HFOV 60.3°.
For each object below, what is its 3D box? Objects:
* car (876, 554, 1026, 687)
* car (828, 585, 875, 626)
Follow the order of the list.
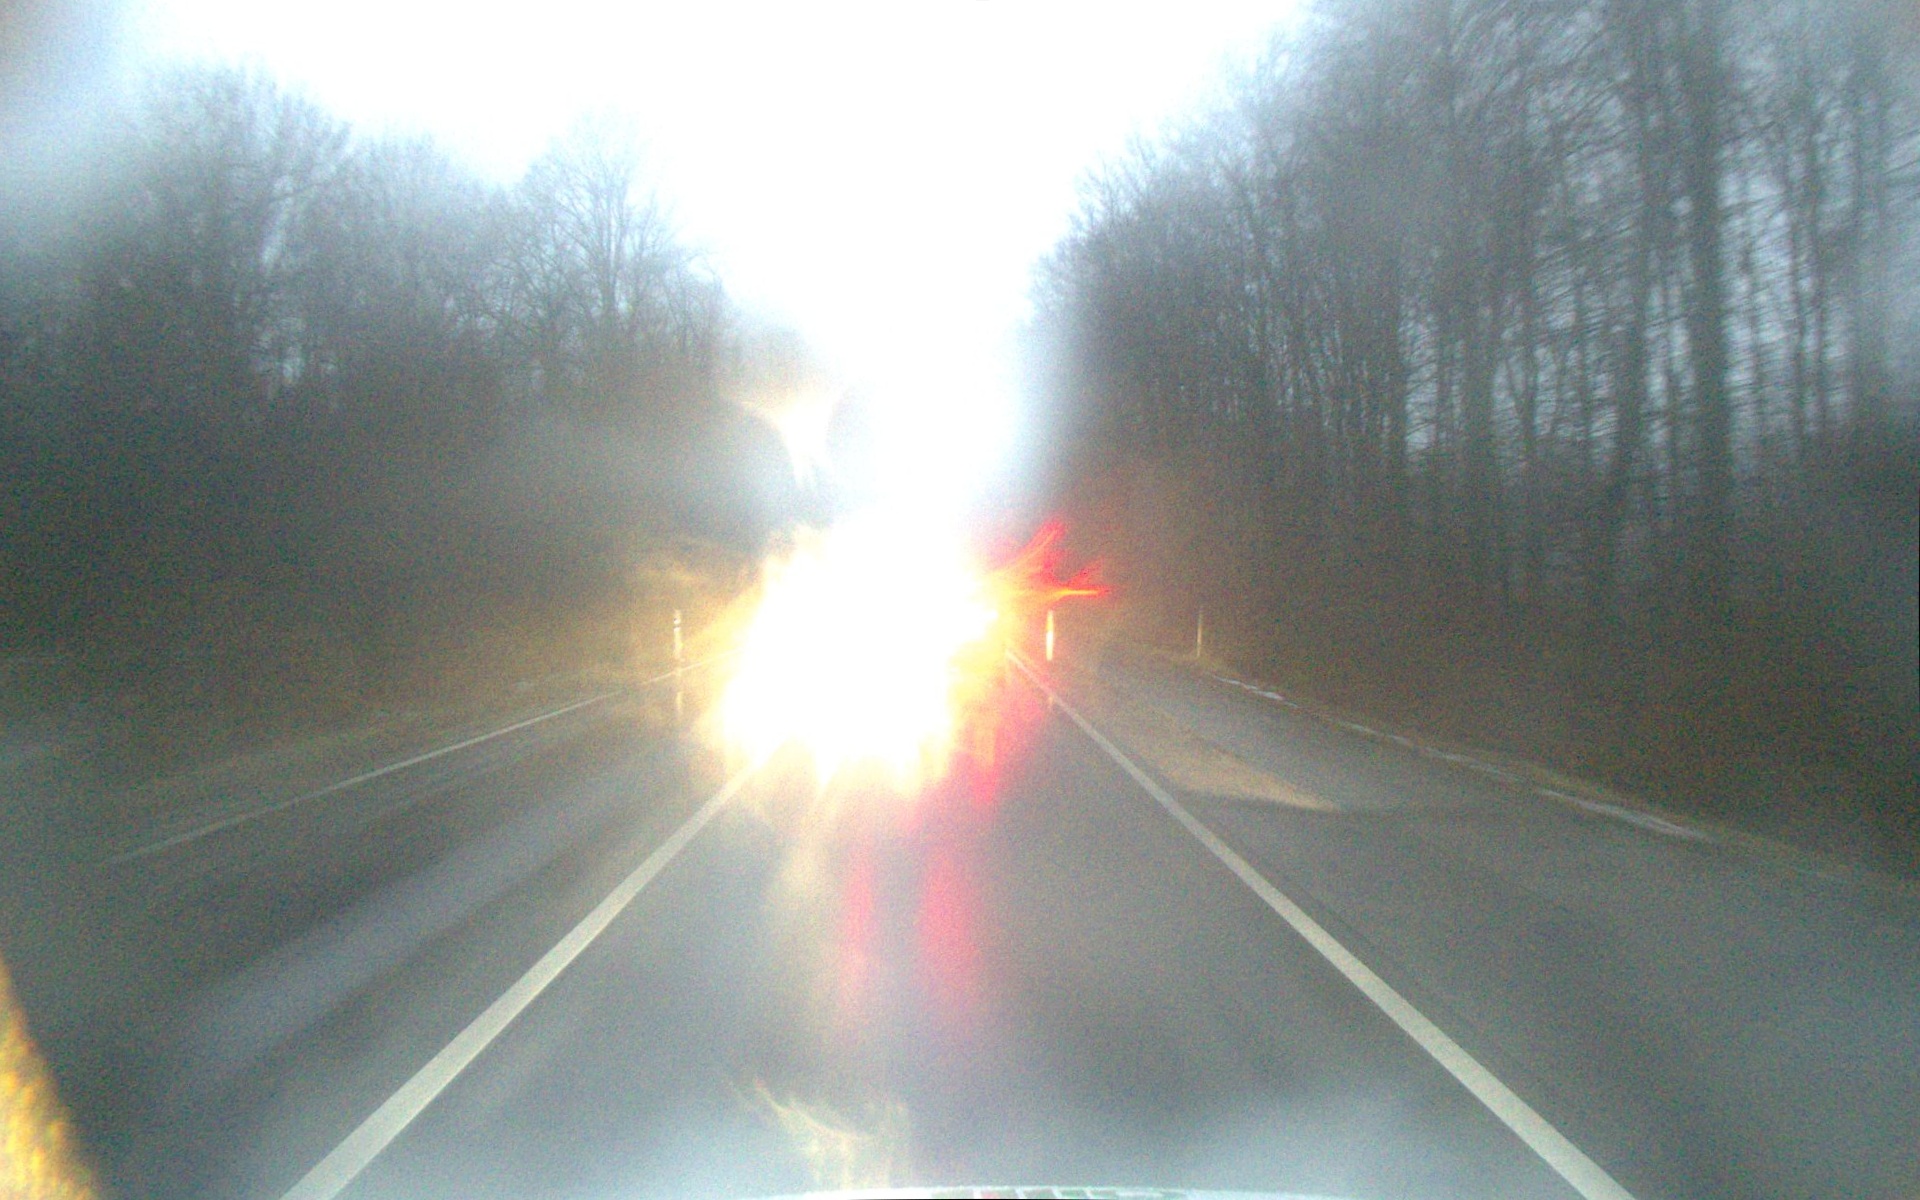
[{"bbox_3d":[-0.187,0.282,26.590,2.153,1.910,4.826,1,0,-1],"label":"car"},{"bbox_3d":[-4.219,0.206,64.872,1.566,1.522,3.894,-2,0,0],"label":"car"}]
